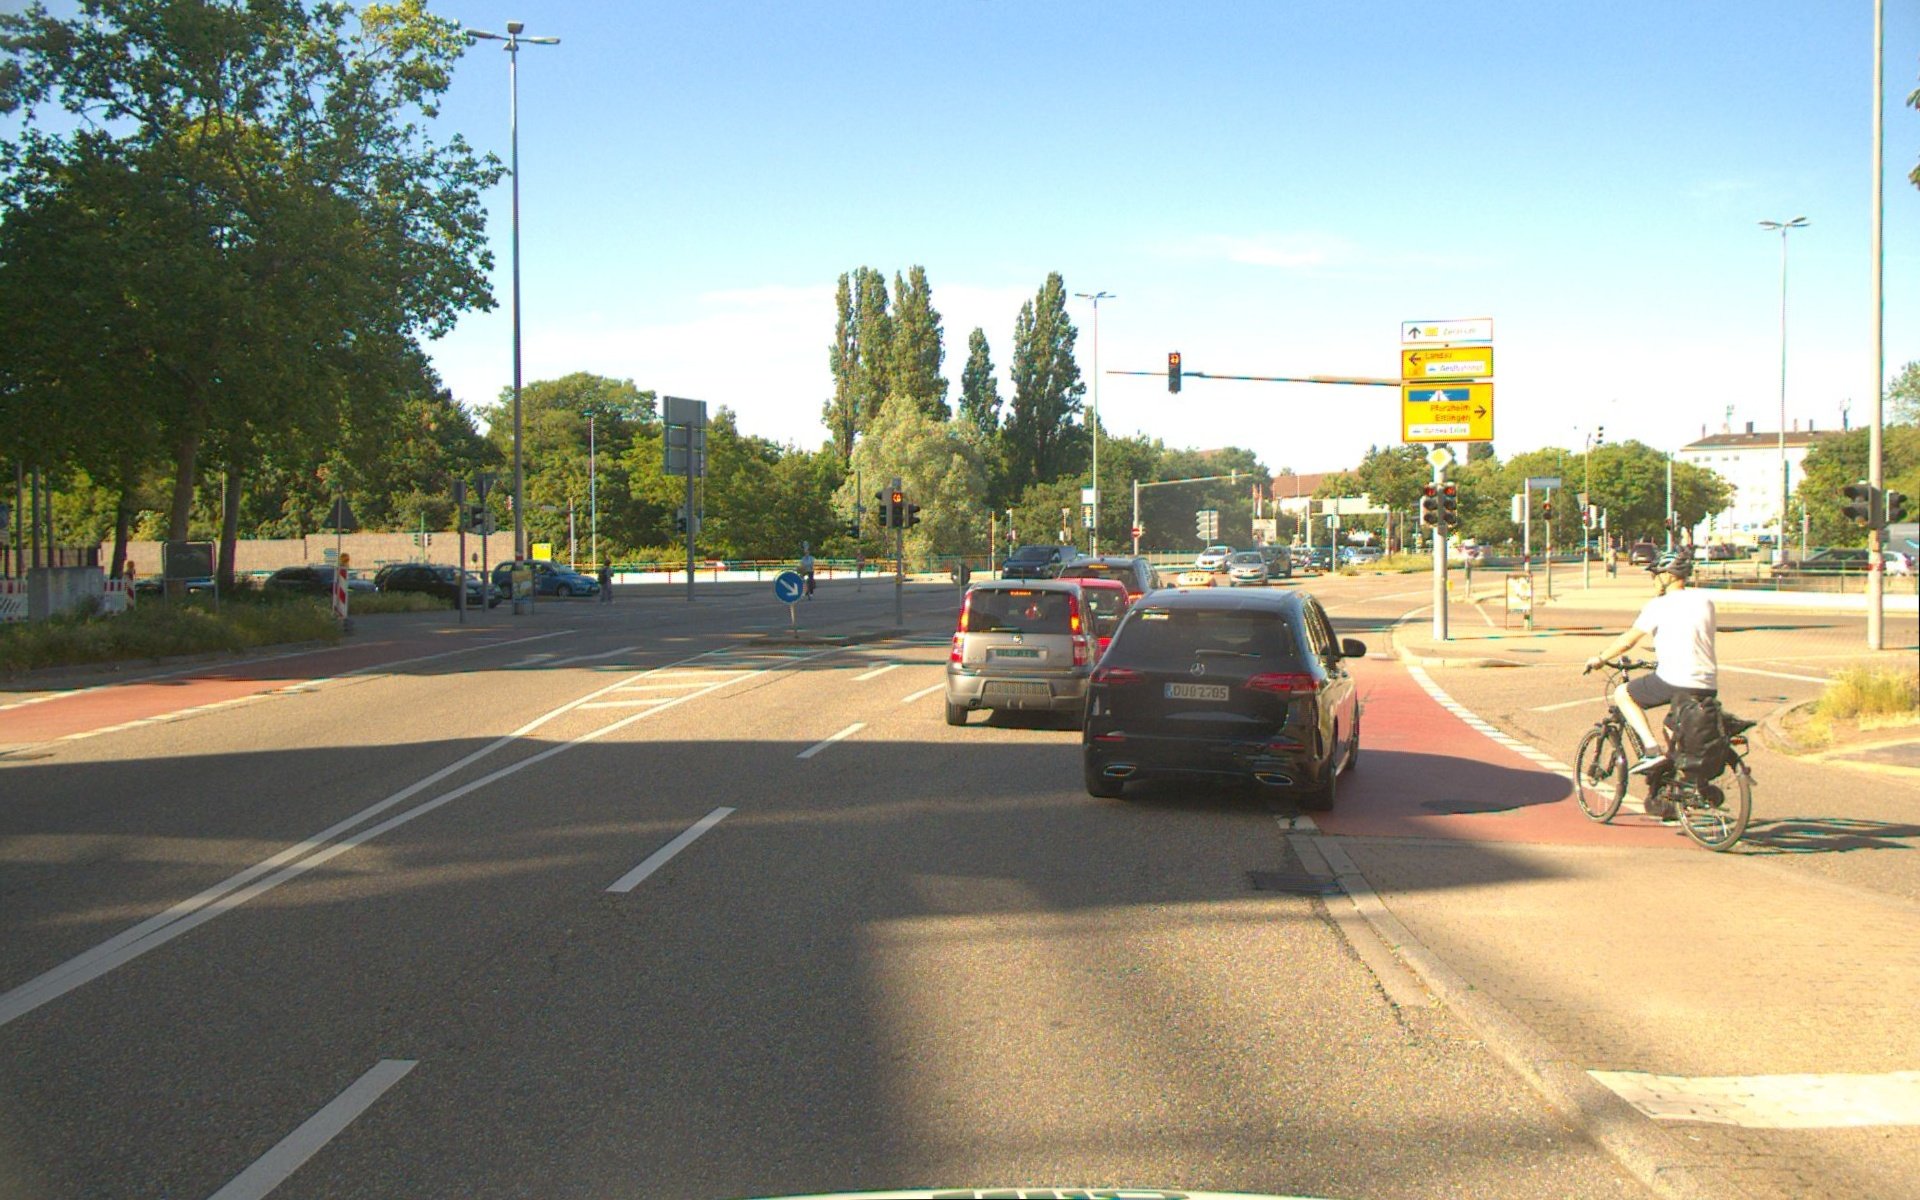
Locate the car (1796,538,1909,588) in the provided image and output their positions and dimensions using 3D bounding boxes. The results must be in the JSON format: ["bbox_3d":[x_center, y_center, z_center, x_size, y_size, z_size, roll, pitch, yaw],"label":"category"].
[{"bbox_3d":[38.305,-1.555,70.989,3.930,2.049,1.987,0,-1,43],"label":"car"}]

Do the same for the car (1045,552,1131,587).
[{"bbox_3d":[5.955,-1.433,76.679,1.791,1.529,4.430,0,2,39],"label":"car"}]

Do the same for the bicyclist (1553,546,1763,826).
[{"bbox_3d":[4.540,0.523,10.833,0.784,1.734,1.083,1,1,-9],"label":"bicyclist"}]

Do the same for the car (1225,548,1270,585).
[{"bbox_3d":[13.149,-1.534,75.504,1.781,1.610,4.108,0,2,14],"label":"car"}]

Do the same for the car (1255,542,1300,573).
[{"bbox_3d":[16.794,-2.265,87.388,1.687,1.610,4.005,0,2,20],"label":"car"}]

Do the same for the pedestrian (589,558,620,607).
[{"bbox_3d":[-12.183,-0.581,56.707,0.672,1.565,1.366,1,-4,2],"label":"pedestrian"}]

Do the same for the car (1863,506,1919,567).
[{"bbox_3d":[44.328,-2.895,75.702,2.234,2.653,4.828,1,-1,-34],"label":"car"}]

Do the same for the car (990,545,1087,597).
[{"bbox_3d":[3.119,-1.171,64.694,1.955,1.969,4.846,0,2,28],"label":"car"}]

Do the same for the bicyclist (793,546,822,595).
[{"bbox_3d":[-5.547,-1.085,60.095,0.672,1.730,1.199,0,2,14],"label":"bicyclist"}]

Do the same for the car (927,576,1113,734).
[{"bbox_3d":[0.781,0.523,18.613,1.781,1.515,4.003,1,1,6],"label":"car"}]

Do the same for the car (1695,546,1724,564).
[{"bbox_3d":[70.263,-4.248,155.017,1.958,1.668,3.990,0,1,32],"label":"car"}]

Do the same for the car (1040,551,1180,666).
[{"bbox_3d":[2.719,0.072,29.061,1.829,1.821,4.418,2,2,13],"label":"car"}]

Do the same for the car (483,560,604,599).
[{"bbox_3d":[-16.286,-0.814,64.602,4.346,1.463,1.826,0,2,23],"label":"car"}]

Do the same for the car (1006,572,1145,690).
[{"bbox_3d":[1.731,0.369,23.642,1.781,1.505,4.003,1,1,7],"label":"car"}]

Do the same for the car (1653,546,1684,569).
[{"bbox_3d":[59.234,-3.580,138.267,1.956,1.825,3.993,0,1,29],"label":"car"}]

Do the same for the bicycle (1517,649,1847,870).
[{"bbox_3d":[4.556,0.952,10.692,0.784,1.130,2.398,1,1,-8],"label":"bicycle"}]

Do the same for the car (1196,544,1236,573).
[{"bbox_3d":[15.312,-2.482,98.708,1.795,1.682,4.632,0,2,16],"label":"car"}]

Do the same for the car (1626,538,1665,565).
[{"bbox_3d":[50.033,-3.522,120.719,1.958,1.825,3.988,0,-1,33],"label":"car"}]

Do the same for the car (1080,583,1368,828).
[{"bbox_3d":[2.213,0.664,12.937,1.714,1.519,4.003,2,1,16],"label":"car"}]

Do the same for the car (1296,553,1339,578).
[{"bbox_3d":[21.626,-2.102,99.891,1.952,1.478,4.001,0,2,21],"label":"car"}]

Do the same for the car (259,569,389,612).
[{"bbox_3d":[-22.510,-0.337,58.527,4.350,1.463,1.824,0,2,27],"label":"car"}]

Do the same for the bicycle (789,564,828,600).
[{"bbox_3d":[-5.507,-0.663,60.255,0.672,1.223,2.329,0,3,14],"label":"bicycle"}]

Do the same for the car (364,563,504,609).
[{"bbox_3d":[-17.412,-0.456,54.721,4.350,1.463,1.824,0,2,27],"label":"car"}]
